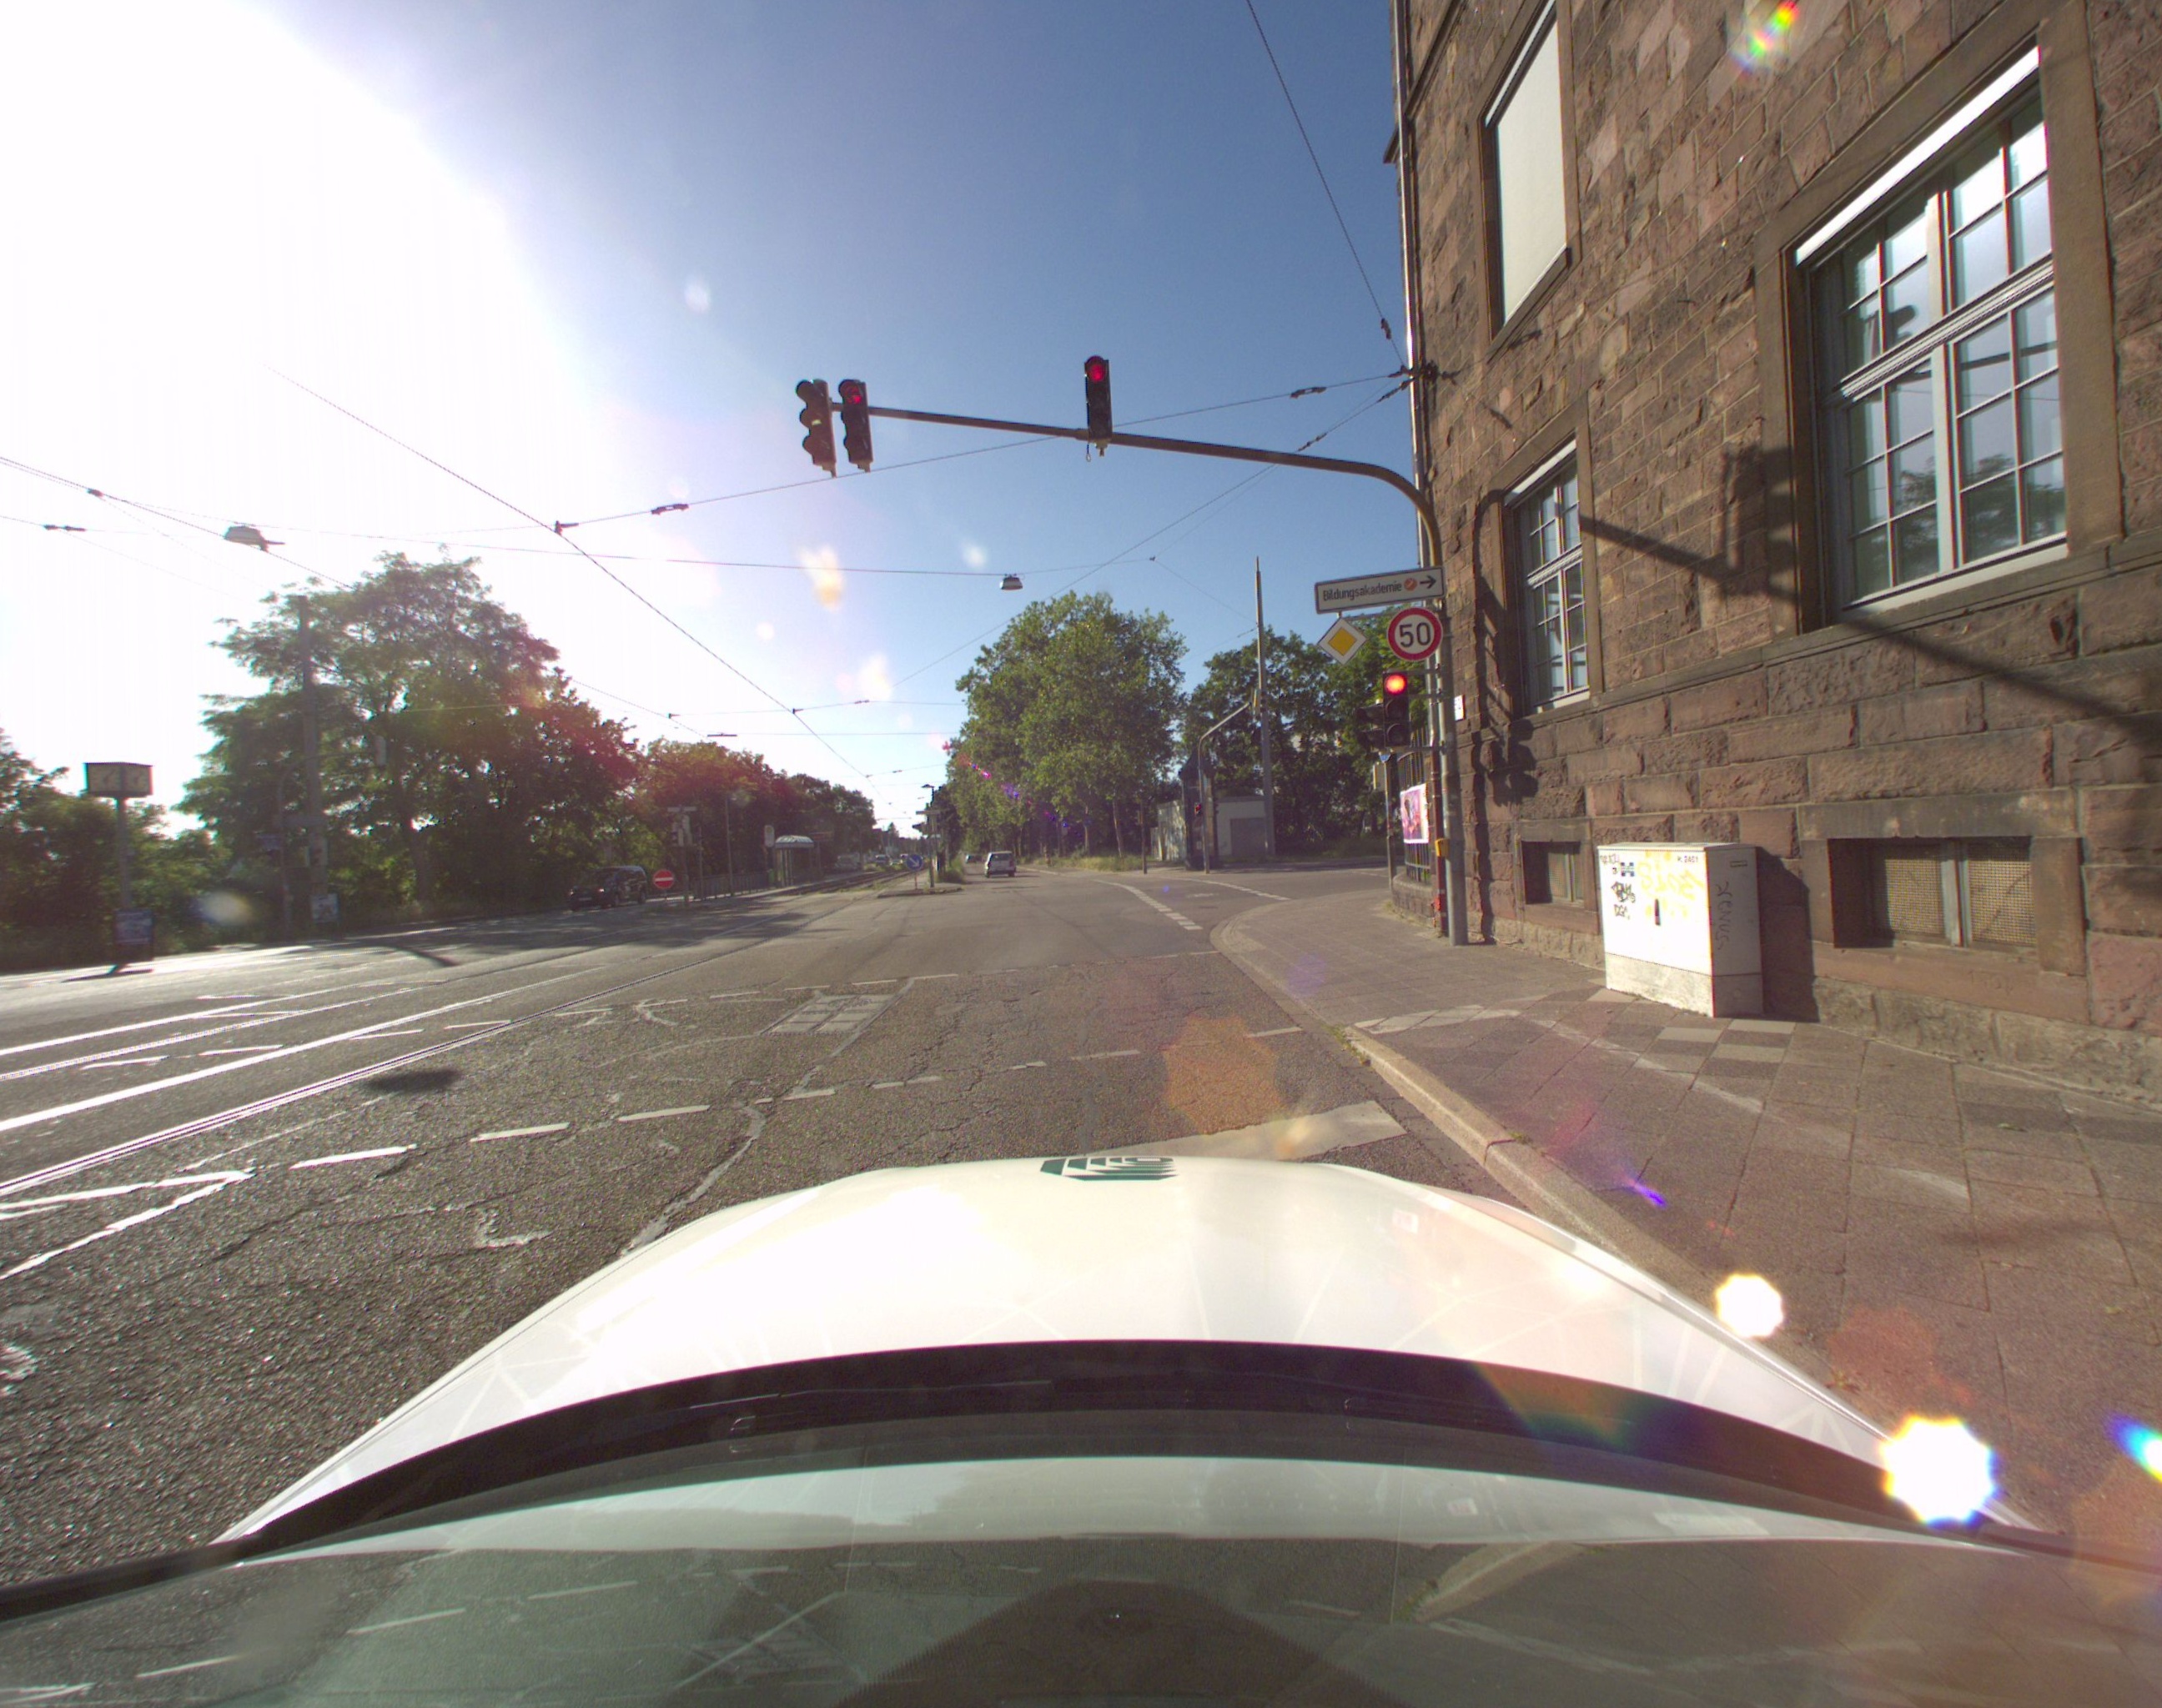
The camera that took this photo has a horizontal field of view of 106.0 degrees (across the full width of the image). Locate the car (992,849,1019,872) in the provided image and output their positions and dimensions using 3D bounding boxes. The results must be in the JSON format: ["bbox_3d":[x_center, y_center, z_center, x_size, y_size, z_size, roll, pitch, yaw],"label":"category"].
[{"bbox_3d":[-5.615,0.471,60.359,1.750,1.604,3.739,1,0,-9],"label":"car"}]

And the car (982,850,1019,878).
[{"bbox_3d":[-4.659,0.550,46.705,1.867,1.486,3.545,-3,0,-8],"label":"car"}]

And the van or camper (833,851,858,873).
[{"bbox_3d":[-35.846,1.256,124.219,2.589,3.106,6.768,-4,0,-9],"label":"van or camper"}]

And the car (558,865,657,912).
[{"bbox_3d":[-20.605,1.448,35.683,1.994,1.767,5.014,-4,0,-9],"label":"car"}]

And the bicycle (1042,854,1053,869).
[{"bbox_3d":[-2.539,0.535,61.323,0.536,1.066,1.428,-4,0,-10],"label":"bicycle"}]

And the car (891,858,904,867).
[{"bbox_3d":[-35.974,1.707,159.610,1.919,1.567,3.990,-4,0,-7],"label":"car"}]

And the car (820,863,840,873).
[{"bbox_3d":[-34.401,1.902,111.620,1.919,1.266,3.990,-4,0,-7],"label":"car"}]

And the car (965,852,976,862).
[{"bbox_3d":[-19.452,0.497,143.777,1.750,1.604,3.569,-4,1,-9],"label":"car"}]

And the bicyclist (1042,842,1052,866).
[{"bbox_3d":[-2.577,-0.006,61.356,0.534,1.769,0.710,-4,0,-11],"label":"bicyclist"}]
